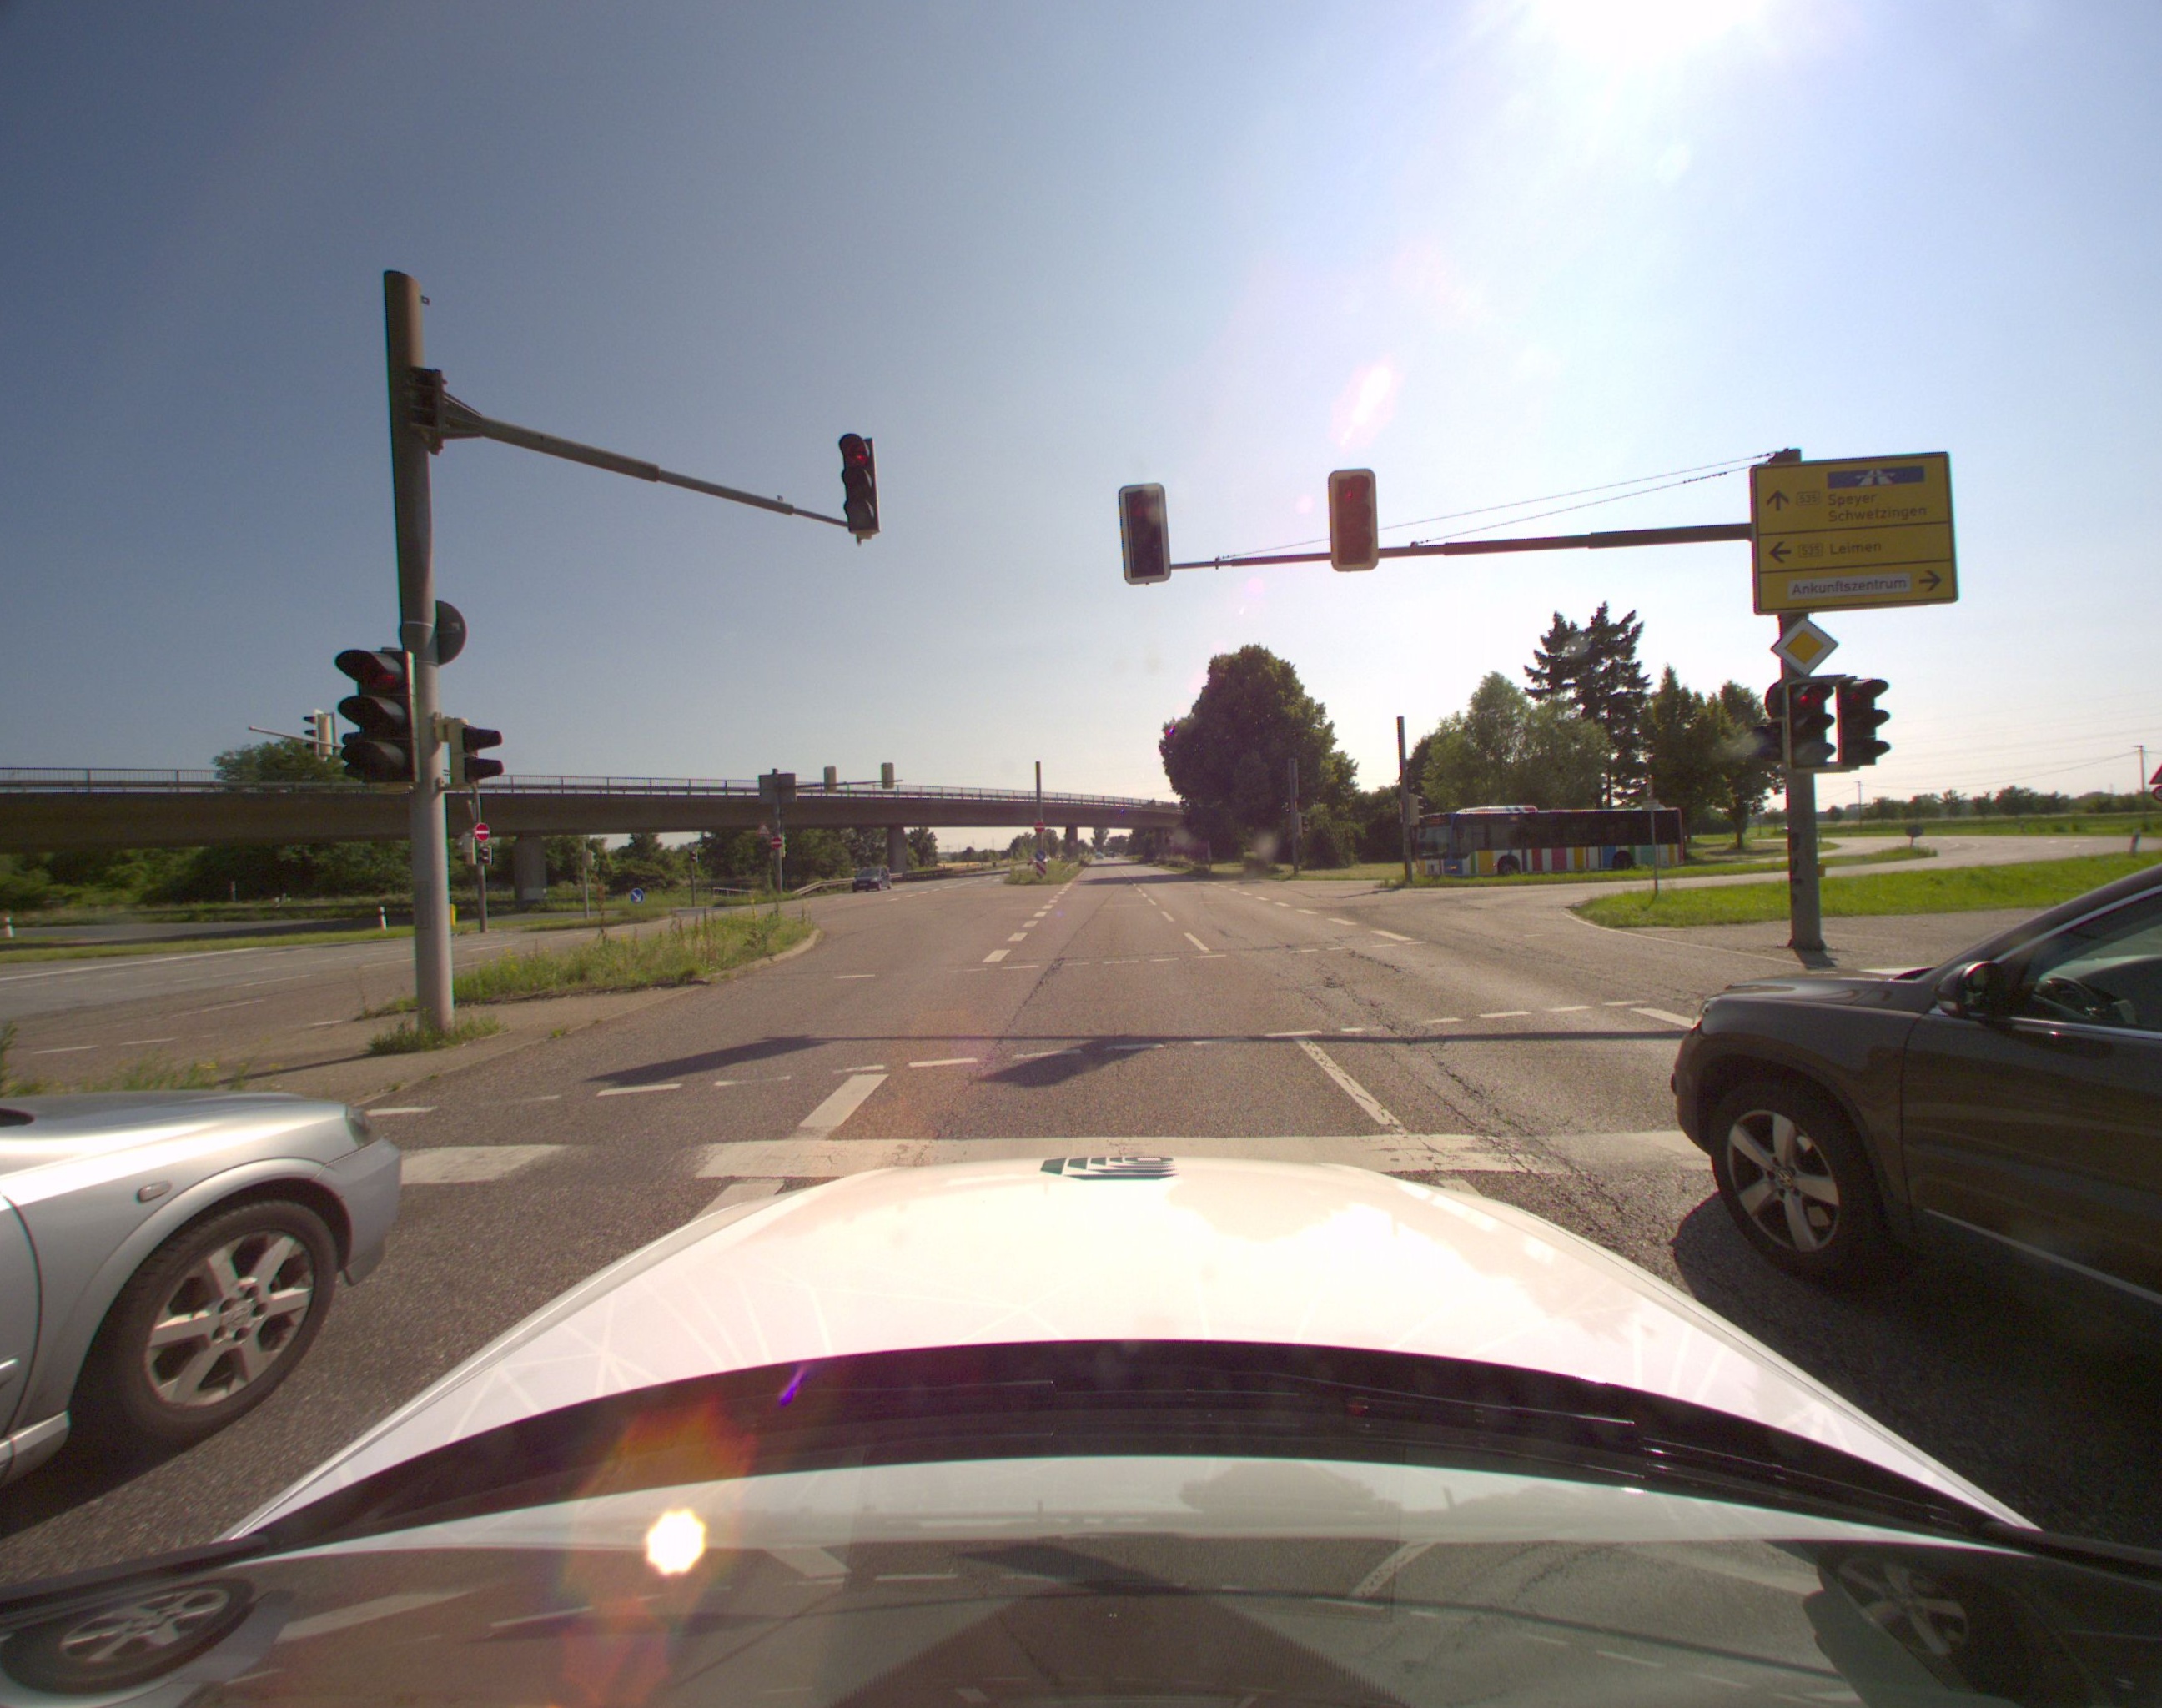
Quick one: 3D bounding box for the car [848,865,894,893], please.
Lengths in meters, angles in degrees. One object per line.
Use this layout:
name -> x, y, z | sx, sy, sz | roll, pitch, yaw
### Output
car -> -12.748, 1.494, 49.557 | 1.608, 1.442, 3.777 | -5, 0, 2

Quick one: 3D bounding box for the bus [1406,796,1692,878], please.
bus -> 20.251, -0.748, 35.252 | 11.954, 2.877, 2.928 | -3, 0, -14

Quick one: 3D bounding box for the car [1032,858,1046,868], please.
car -> -6.854, 1.425, 133.349 | 1.850, 1.448, 4.241 | -5, 0, 1

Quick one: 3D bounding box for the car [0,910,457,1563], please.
car -> -3.247, 0.918, 0.980 | 1.667, 1.335, 4.100 | -3, 0, 2

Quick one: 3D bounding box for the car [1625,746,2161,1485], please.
car -> 3.286, 0.578, 1.581 | 1.749, 1.655, 4.147 | -1, 0, 1

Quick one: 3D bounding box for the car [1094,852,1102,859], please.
car -> 4.160, 0.342, 196.154 | 1.843, 1.461, 4.003 | -2, 0, 3

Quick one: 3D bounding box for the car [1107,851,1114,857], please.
car -> 8.867, 0.005, 243.993 | 1.866, 1.640, 4.003 | -2, 0, 3
